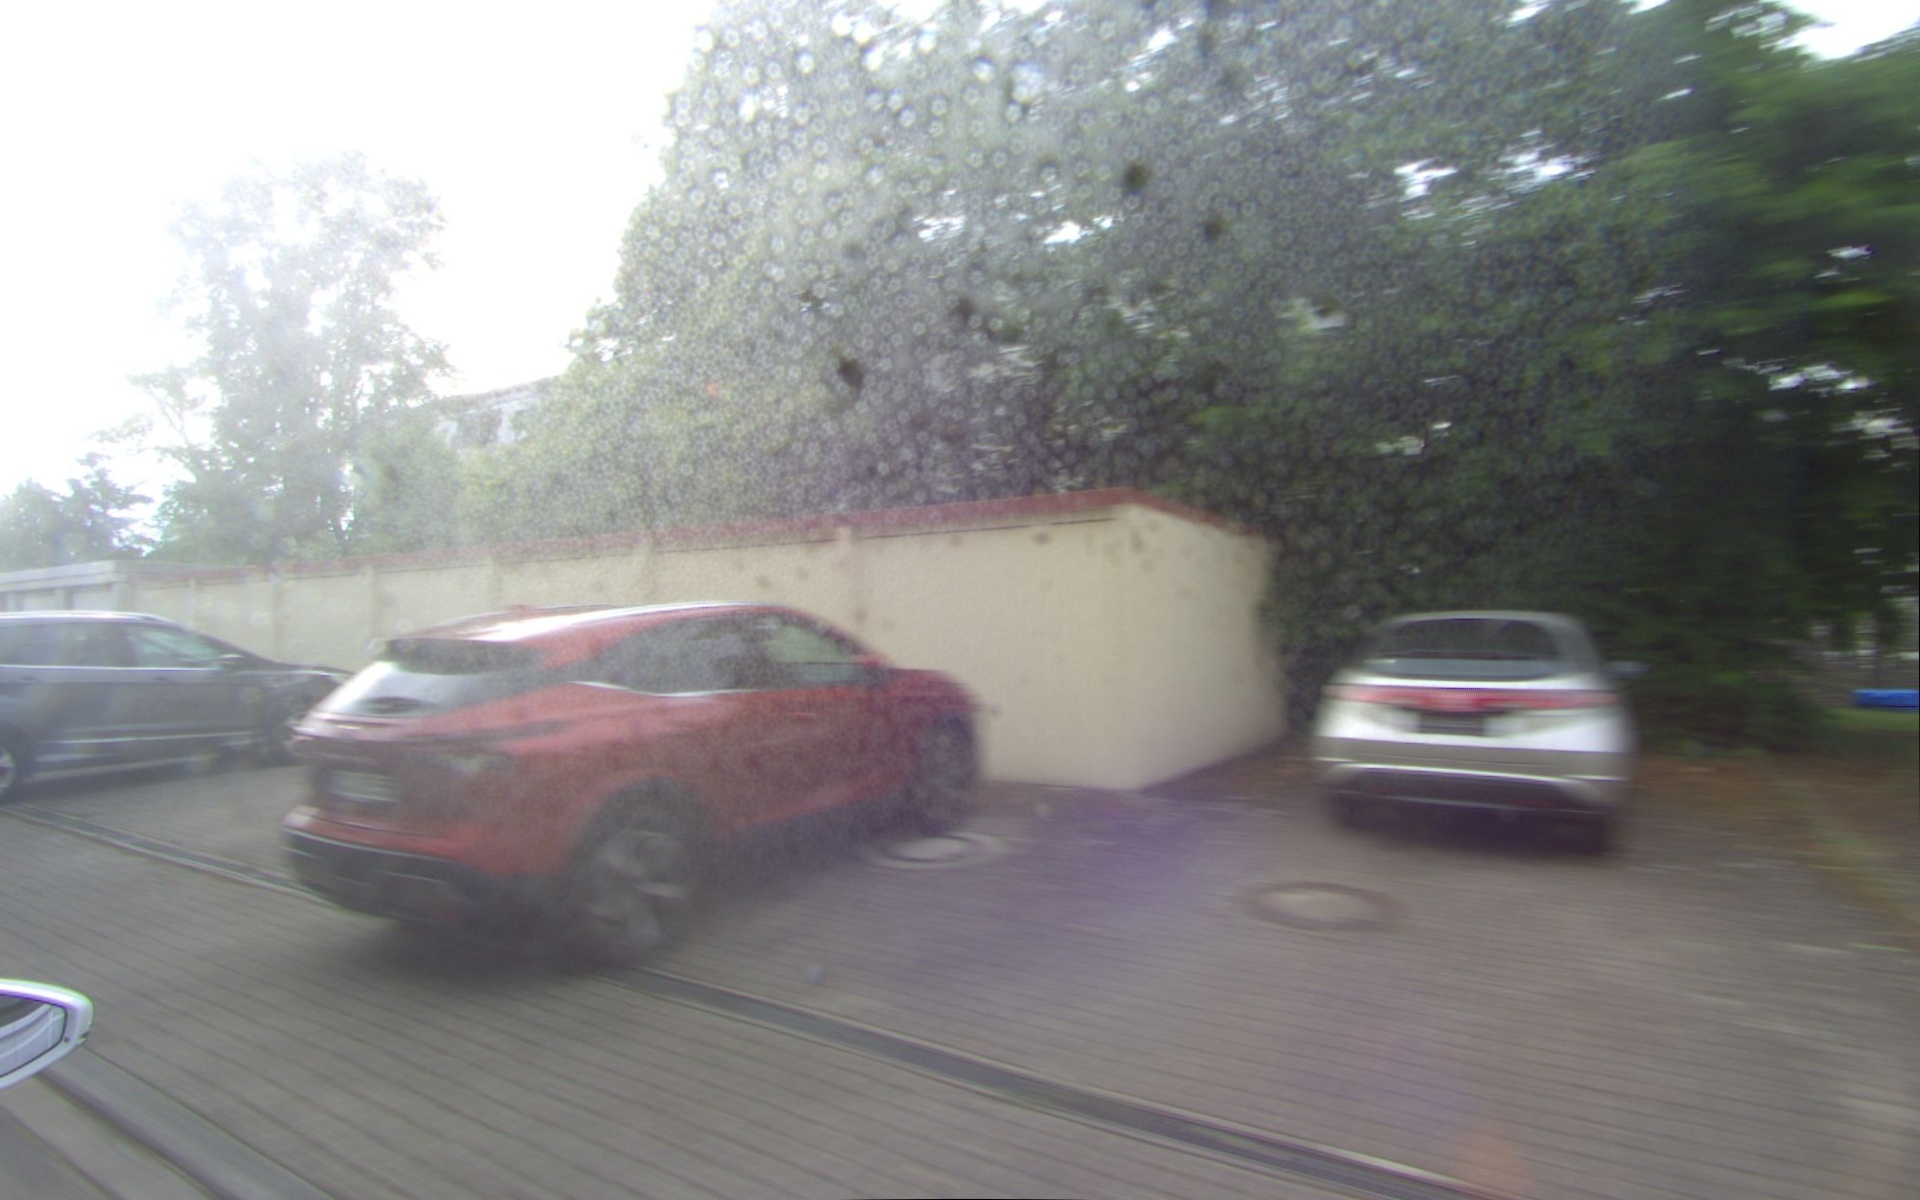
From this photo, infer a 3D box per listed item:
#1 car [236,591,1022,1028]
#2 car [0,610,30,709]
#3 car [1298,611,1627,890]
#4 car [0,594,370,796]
[{"bbox_3d":[-1.460,0.770,6.026,1.907,1.607,4.280,-1,0,31],"label":"car"},{"bbox_3d":[-18.314,1.064,16.510,1.971,1.726,3.979,-1,0,31],"label":"car"},{"bbox_3d":[3.842,0.821,7.326,1.689,1.466,3.817,-1,-1,33],"label":"car"},{"bbox_3d":[-8.710,0.843,10.230,1.971,1.750,4.187,-1,0,31],"label":"car"}]
